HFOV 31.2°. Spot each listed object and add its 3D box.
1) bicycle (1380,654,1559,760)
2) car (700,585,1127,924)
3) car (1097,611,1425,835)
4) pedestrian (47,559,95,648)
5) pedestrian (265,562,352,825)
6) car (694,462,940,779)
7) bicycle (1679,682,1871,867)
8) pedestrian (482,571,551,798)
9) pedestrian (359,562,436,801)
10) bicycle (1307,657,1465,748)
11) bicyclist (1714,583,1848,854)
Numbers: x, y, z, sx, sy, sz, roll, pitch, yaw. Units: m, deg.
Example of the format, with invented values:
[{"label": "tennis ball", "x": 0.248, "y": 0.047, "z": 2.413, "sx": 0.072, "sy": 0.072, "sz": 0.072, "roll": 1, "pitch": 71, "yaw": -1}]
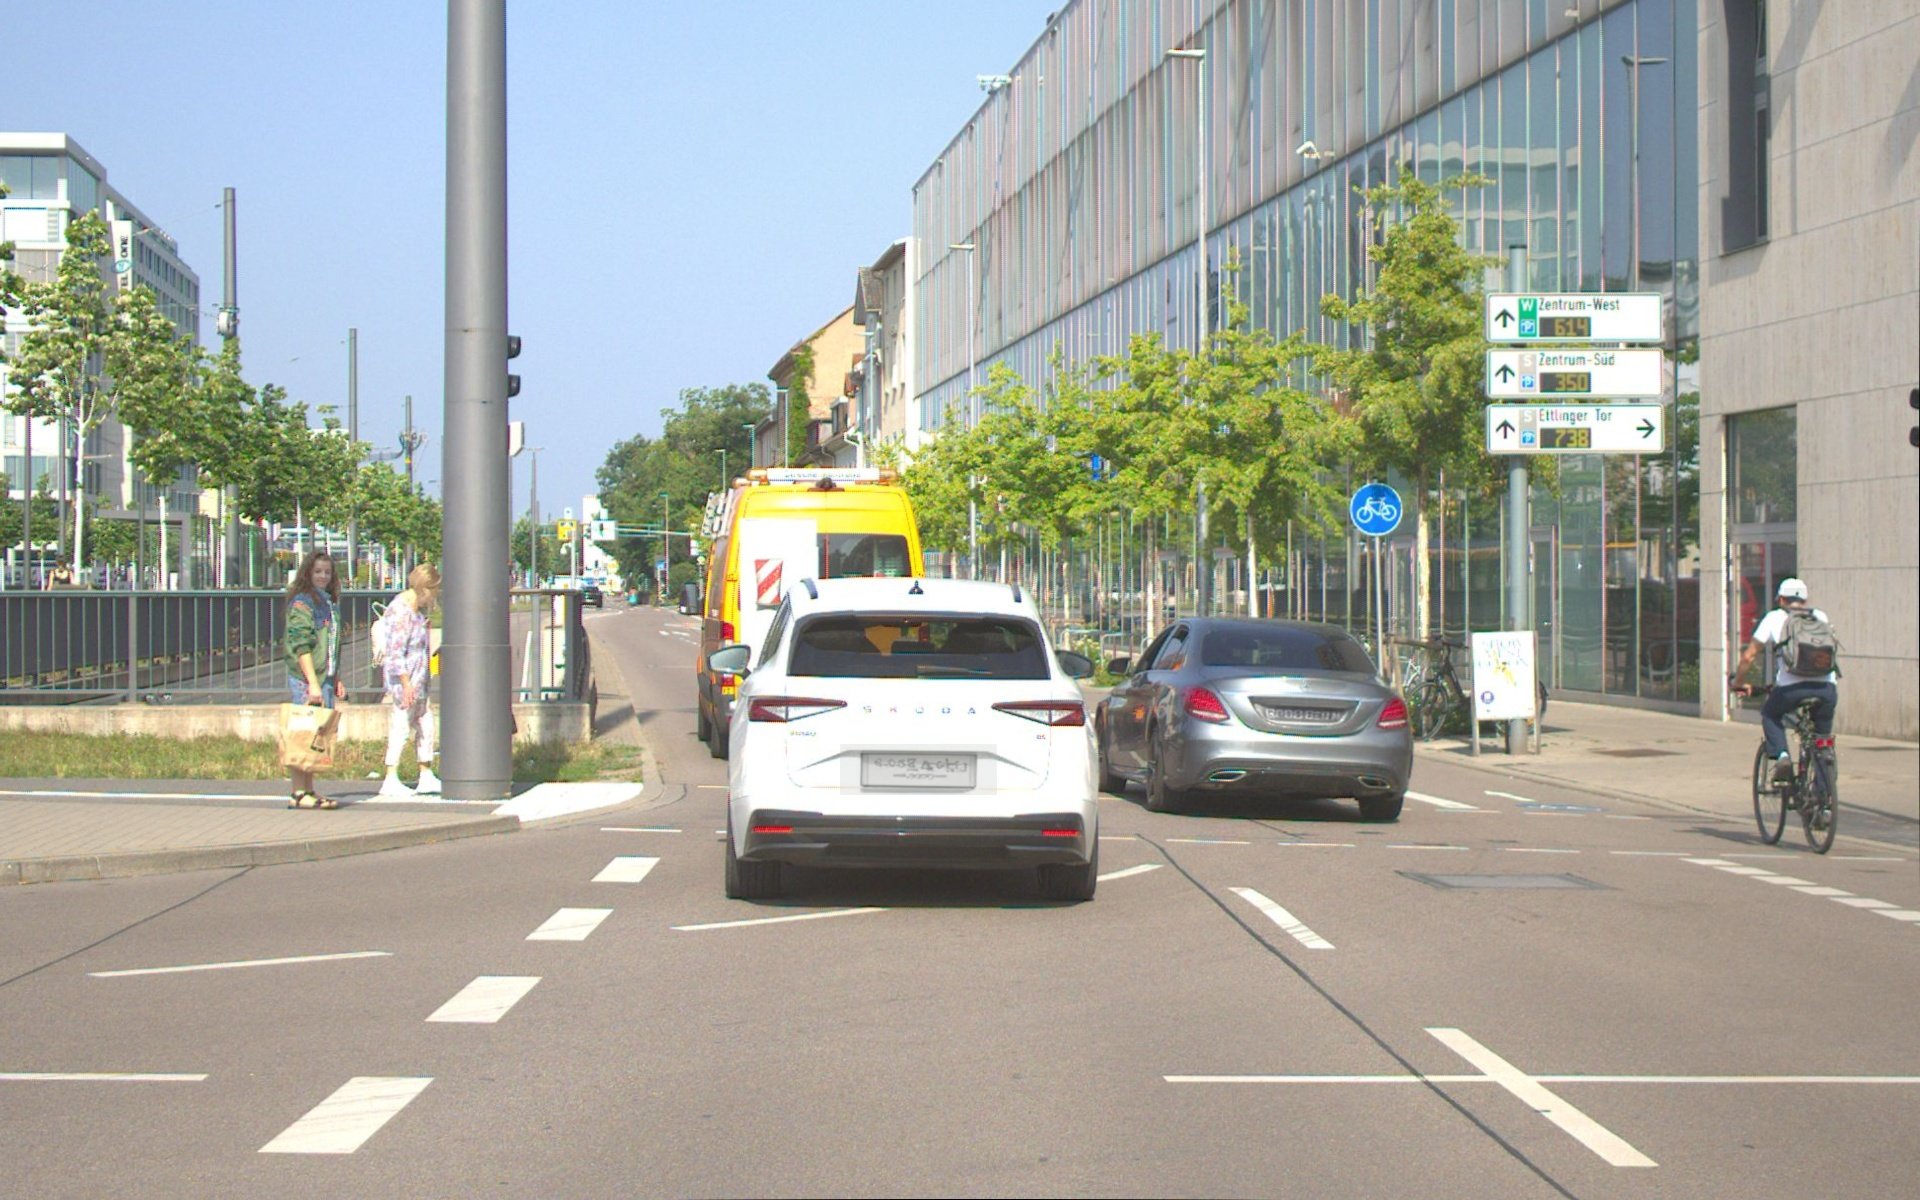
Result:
[{"label": "bicycle", "x": 5.701, "y": 1.198, "z": 38.529, "sx": 1.839, "sy": 1.109, "sz": 0.687, "roll": 2, "pitch": 0, "yaw": -4}, {"label": "car", "x": -0.360, "y": 0.710, "z": 17.969, "sx": 1.869, "sy": 1.569, "sz": 4.001, "roll": 0, "pitch": 0, "yaw": -6}, {"label": "car", "x": 2.124, "y": 0.840, "z": 25.350, "sx": 1.760, "sy": 1.431, "sz": 4.115, "roll": 2, "pitch": 0, "yaw": -4}, {"label": "pedestrian", "x": -16.257, "y": 0.072, "z": 62.864, "sx": 0.735, "sy": 1.613, "sz": 0.711, "roll": 1, "pitch": 0, "yaw": -7}, {"label": "pedestrian", "x": -4.159, "y": 0.584, "z": 21.966, "sx": 0.467, "sy": 1.644, "sz": 0.777, "roll": 1, "pitch": 0, "yaw": -6}, {"label": "car", "x": -1.468, "y": 0.153, "z": 33.029, "sx": 2.020, "sy": 2.786, "sz": 5.402, "roll": 0, "pitch": 1, "yaw": -6}, {"label": "bicycle", "x": 5.366, "y": 1.128, "z": 22.750, "sx": 0.661, "sy": 1.113, "sz": 2.051, "roll": 0, "pitch": 0, "yaw": -4}, {"label": "pedestrian", "x": -3.261, "y": 0.611, "z": 25.329, "sx": 0.467, "sy": 1.644, "sz": 0.777, "roll": 1, "pitch": 0, "yaw": -6}, {"label": "pedestrian", "x": -3.932, "y": 0.560, "z": 24.068, "sx": 0.467, "sy": 1.644, "sz": 0.777, "roll": 1, "pitch": 0, "yaw": -6}, {"label": "bicycle", "x": 5.287, "y": 1.268, "z": 42.687, "sx": 1.878, "sy": 1.105, "sz": 0.490, "roll": 0, "pitch": 0, "yaw": -4}, {"label": "bicyclist", "x": 5.377, "y": 0.761, "z": 22.549, "sx": 0.651, "sy": 1.743, "sz": 0.769, "roll": 0, "pitch": 0, "yaw": -4}]
